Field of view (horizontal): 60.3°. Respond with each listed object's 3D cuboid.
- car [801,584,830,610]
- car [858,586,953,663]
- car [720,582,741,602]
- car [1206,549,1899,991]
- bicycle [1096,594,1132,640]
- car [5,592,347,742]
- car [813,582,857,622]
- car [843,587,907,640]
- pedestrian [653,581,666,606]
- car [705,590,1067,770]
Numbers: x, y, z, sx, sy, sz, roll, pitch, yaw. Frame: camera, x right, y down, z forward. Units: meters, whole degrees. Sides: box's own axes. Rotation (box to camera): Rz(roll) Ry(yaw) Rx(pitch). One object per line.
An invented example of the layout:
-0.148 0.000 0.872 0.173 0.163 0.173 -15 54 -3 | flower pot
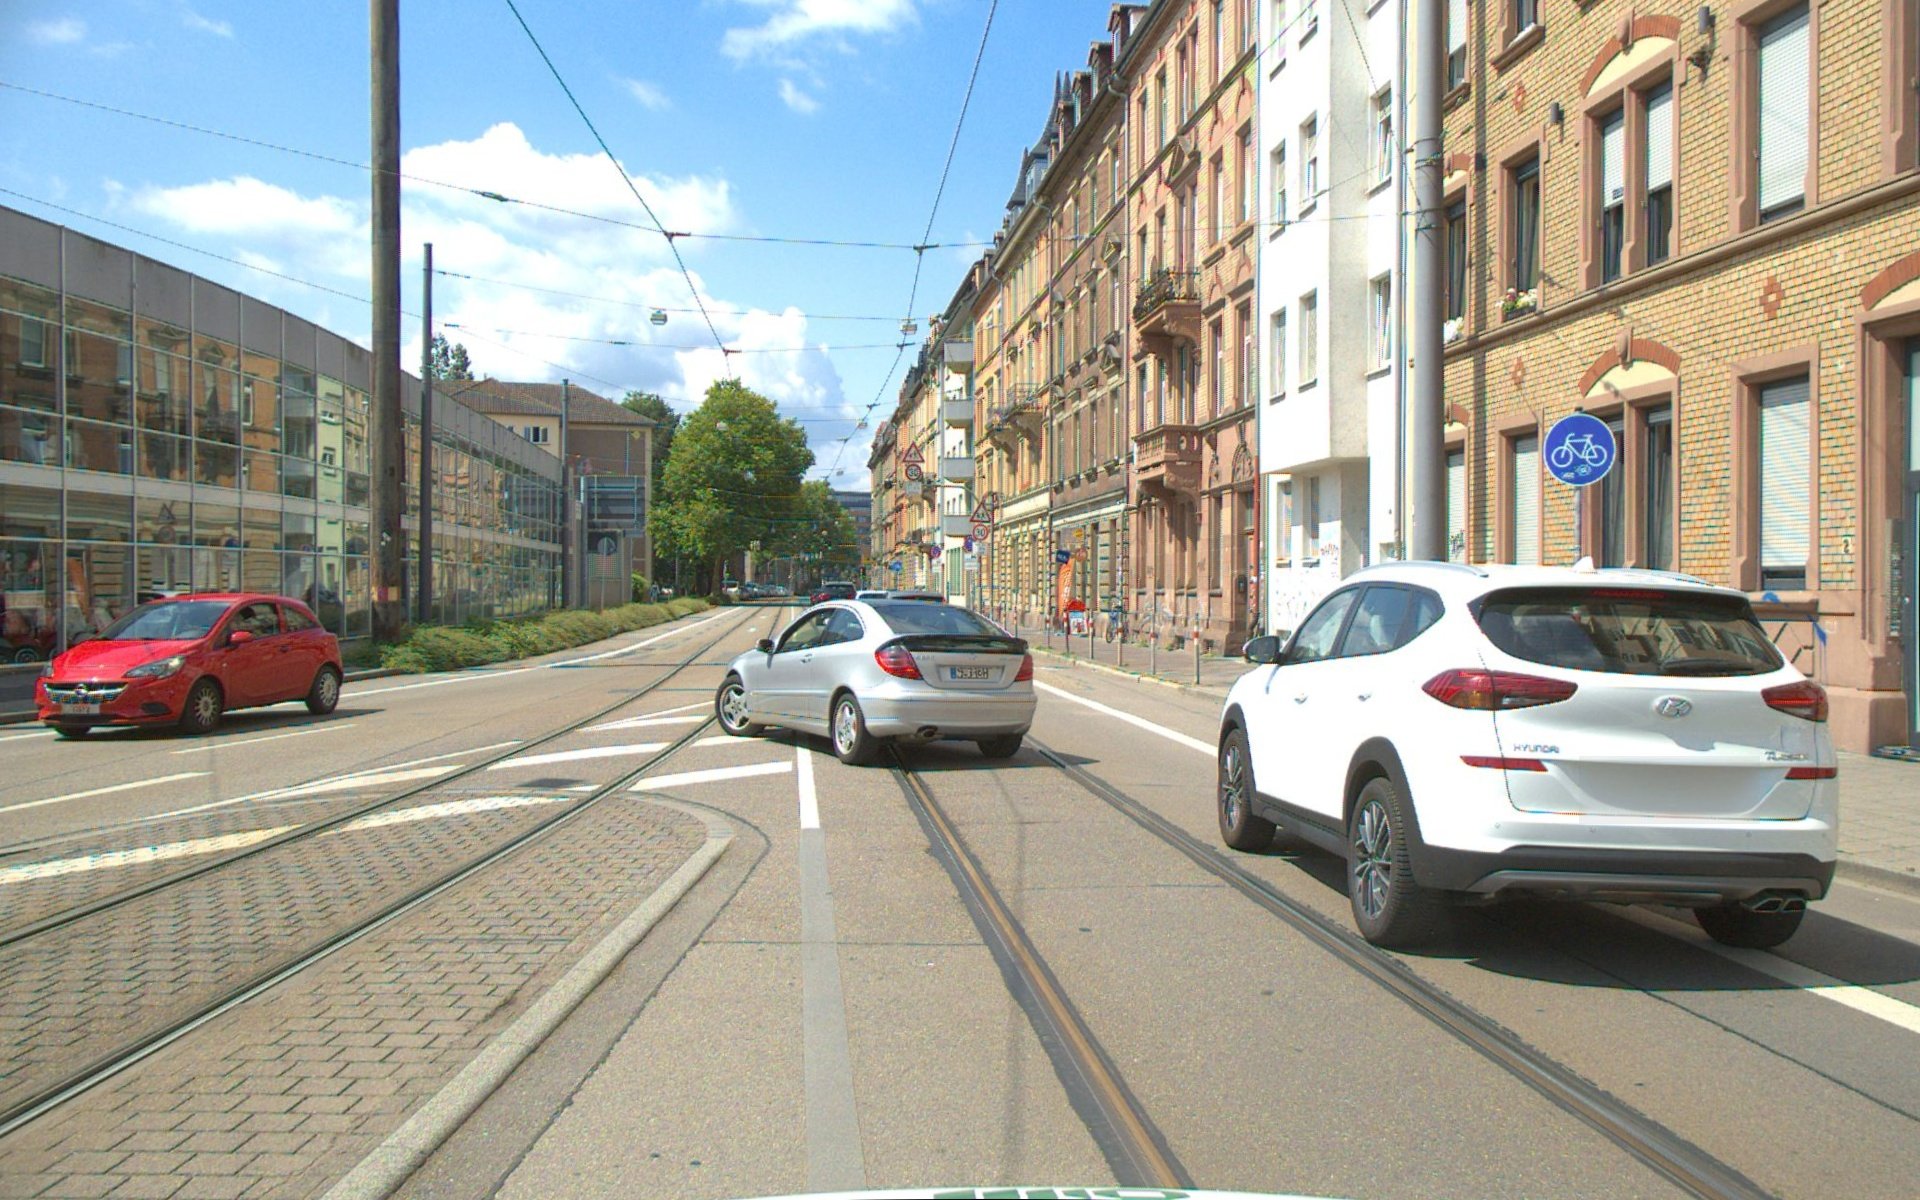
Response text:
-10.514 -0.224 120.553 1.956 1.892 3.994 0 0 -7 | car
-1.245 0.483 36.078 1.779 1.550 4.080 0 1 -6 | car
-23.132 -0.813 166.672 1.912 1.928 4.559 1 0 -6 | car
2.582 0.671 8.380 1.815 1.662 4.178 1 -1 -3 | car
4.121 0.443 44.304 0.575 1.199 2.203 -1 0 -5 | bicycle
-8.627 0.668 18.607 1.666 1.453 3.905 -1 1 6 | car
-5.352 0.068 70.607 1.779 1.691 4.080 0 0 -6 | car
-2.682 0.375 51.483 1.779 1.550 3.951 0 1 -6 | car
-23.177 -0.523 127.740 0.863 1.898 1.079 -1 0 -6 | pedestrian
-0.850 0.635 15.678 1.795 1.445 4.147 0 1 -29 | car
